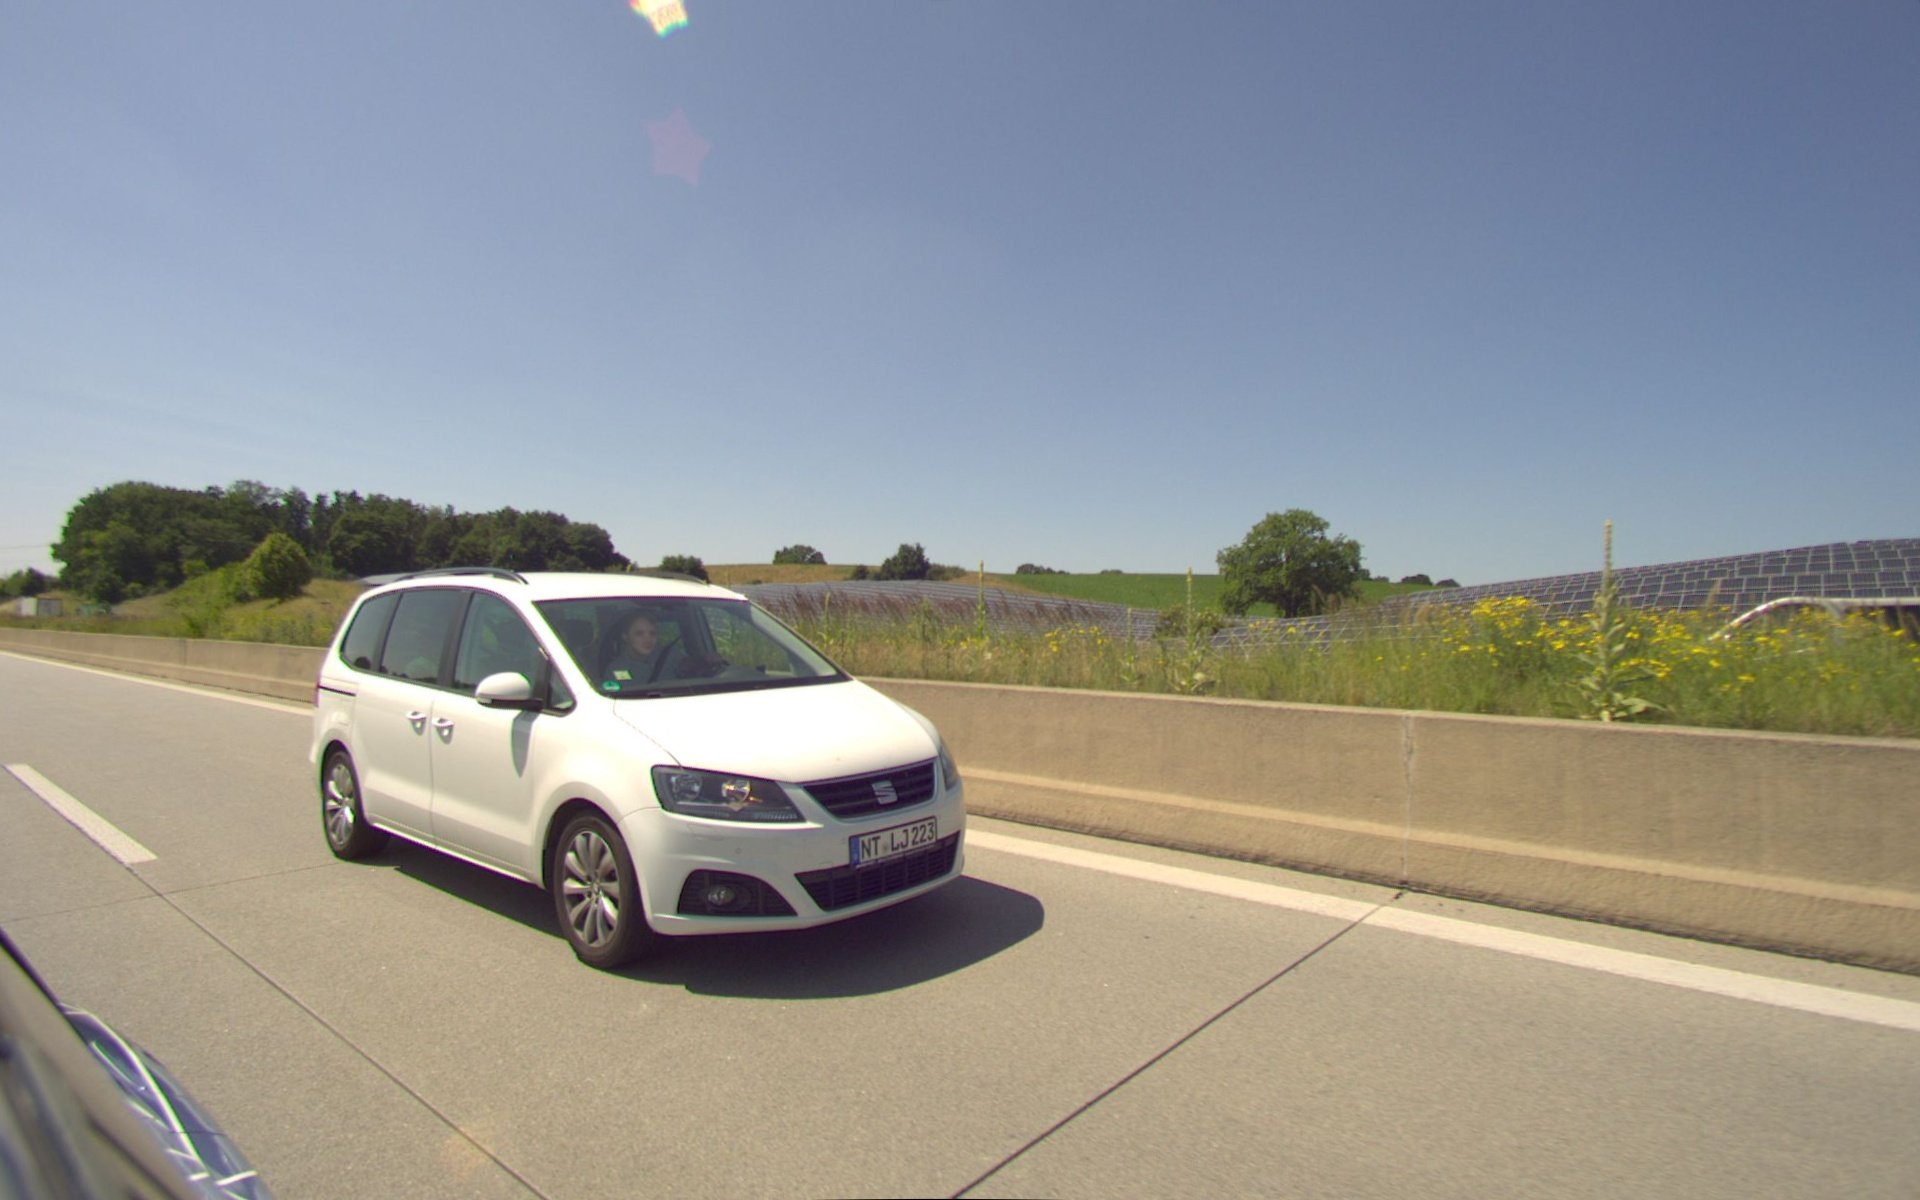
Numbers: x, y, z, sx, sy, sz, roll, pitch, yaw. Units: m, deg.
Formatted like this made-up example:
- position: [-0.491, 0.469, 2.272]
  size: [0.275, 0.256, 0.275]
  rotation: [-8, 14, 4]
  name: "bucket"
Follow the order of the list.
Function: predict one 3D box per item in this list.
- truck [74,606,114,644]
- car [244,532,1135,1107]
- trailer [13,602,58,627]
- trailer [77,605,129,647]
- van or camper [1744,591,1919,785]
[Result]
- position: [-93.841, 2.719, 109.623]
  size: [4.351, 3.981, 2.716]
  rotation: [-1, 0, 41]
  name: "truck"
- position: [-2.102, 0.668, 5.719]
  size: [6.033, 1.721, 1.826]
  rotation: [-1, 0, 41]
  name: "car"
- position: [-124.269, 1.908, 135.932]
  size: [14.499, 3.207, 2.803]
  rotation: [-1, 0, 41]
  name: "trailer"
- position: [-89.971, 2.699, 106.185]
  size: [10.253, 4.223, 2.703]
  rotation: [-1, -1, 42]
  name: "trailer"
- position: [10.817, 0.888, 10.647]
  size: [3.948, 1.985, 1.744]
  rotation: [-1, -1, 41]
  name: "van or camper"
